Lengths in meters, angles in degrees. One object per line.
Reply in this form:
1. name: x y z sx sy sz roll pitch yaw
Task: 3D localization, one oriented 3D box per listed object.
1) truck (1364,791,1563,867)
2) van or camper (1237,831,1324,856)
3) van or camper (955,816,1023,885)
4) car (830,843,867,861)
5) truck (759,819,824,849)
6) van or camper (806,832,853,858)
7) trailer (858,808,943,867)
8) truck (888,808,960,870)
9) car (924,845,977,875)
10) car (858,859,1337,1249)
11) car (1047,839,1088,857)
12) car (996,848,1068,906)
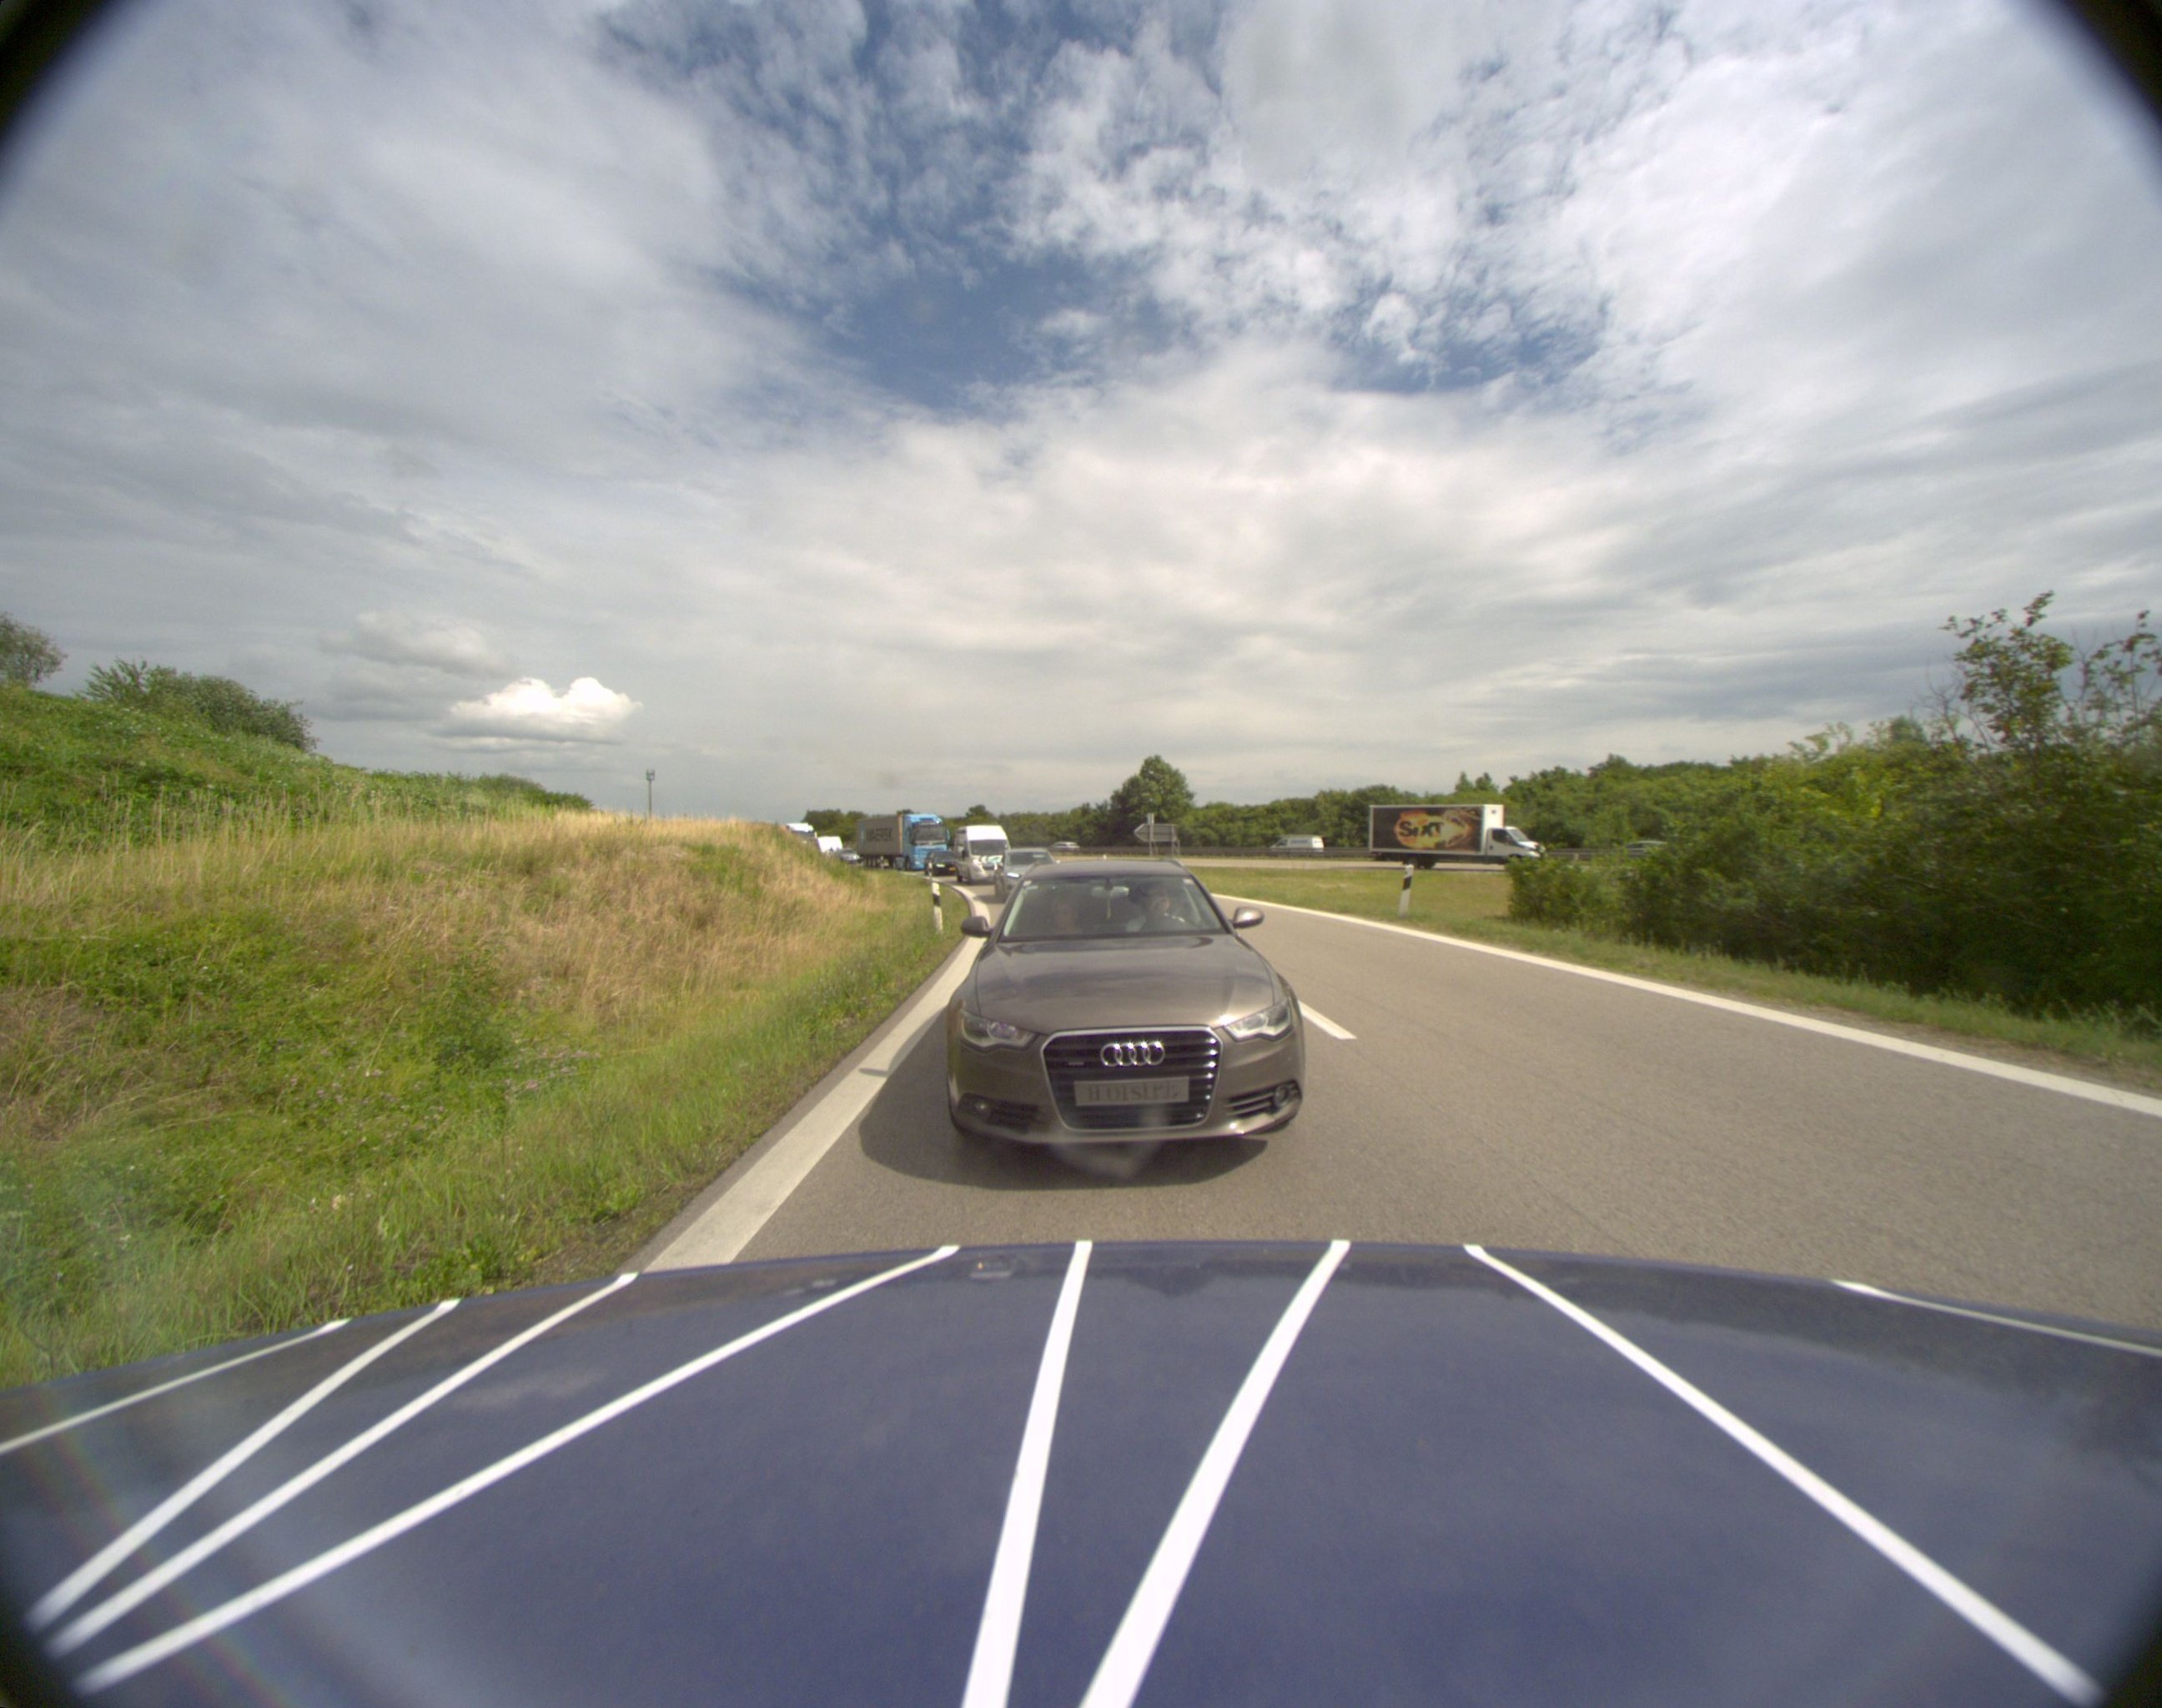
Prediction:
1. truck: 19.885 -1.268 40.070 2.898 3.567 8.920 -4 3 -41
2. van or camper: 17.637 -0.931 67.630 2.234 2.117 7.316 -1 2 -45
3. van or camper: -4.397 -0.189 35.348 2.400 2.892 5.713 -3 1 -13
4. car: -21.435 -0.179 70.008 2.003 1.522 3.988 -3 3 -36
5. truck: -33.068 -2.226 86.371 3.131 3.221 11.128 -3 2 -41
6. van or camper: -24.810 -0.931 74.826 2.558 2.200 5.692 -4 6 -38
7. trailer: -14.572 -1.233 60.383 3.280 4.138 11.989 -3 1 -29
8. truck: -11.335 -1.027 54.382 3.184 4.050 6.631 -3 2 -27
9. car: -7.745 0.290 44.752 2.003 1.609 3.990 -2 2 -26
10. car: 0.072 0.870 5.511 1.999 1.506 4.537 -2 1 0
11. car: -1.501 -0.644 83.828 1.848 1.863 4.602 -4 2 -44
12. car: -1.648 0.644 24.112 1.844 1.587 4.169 -1 1 -10
